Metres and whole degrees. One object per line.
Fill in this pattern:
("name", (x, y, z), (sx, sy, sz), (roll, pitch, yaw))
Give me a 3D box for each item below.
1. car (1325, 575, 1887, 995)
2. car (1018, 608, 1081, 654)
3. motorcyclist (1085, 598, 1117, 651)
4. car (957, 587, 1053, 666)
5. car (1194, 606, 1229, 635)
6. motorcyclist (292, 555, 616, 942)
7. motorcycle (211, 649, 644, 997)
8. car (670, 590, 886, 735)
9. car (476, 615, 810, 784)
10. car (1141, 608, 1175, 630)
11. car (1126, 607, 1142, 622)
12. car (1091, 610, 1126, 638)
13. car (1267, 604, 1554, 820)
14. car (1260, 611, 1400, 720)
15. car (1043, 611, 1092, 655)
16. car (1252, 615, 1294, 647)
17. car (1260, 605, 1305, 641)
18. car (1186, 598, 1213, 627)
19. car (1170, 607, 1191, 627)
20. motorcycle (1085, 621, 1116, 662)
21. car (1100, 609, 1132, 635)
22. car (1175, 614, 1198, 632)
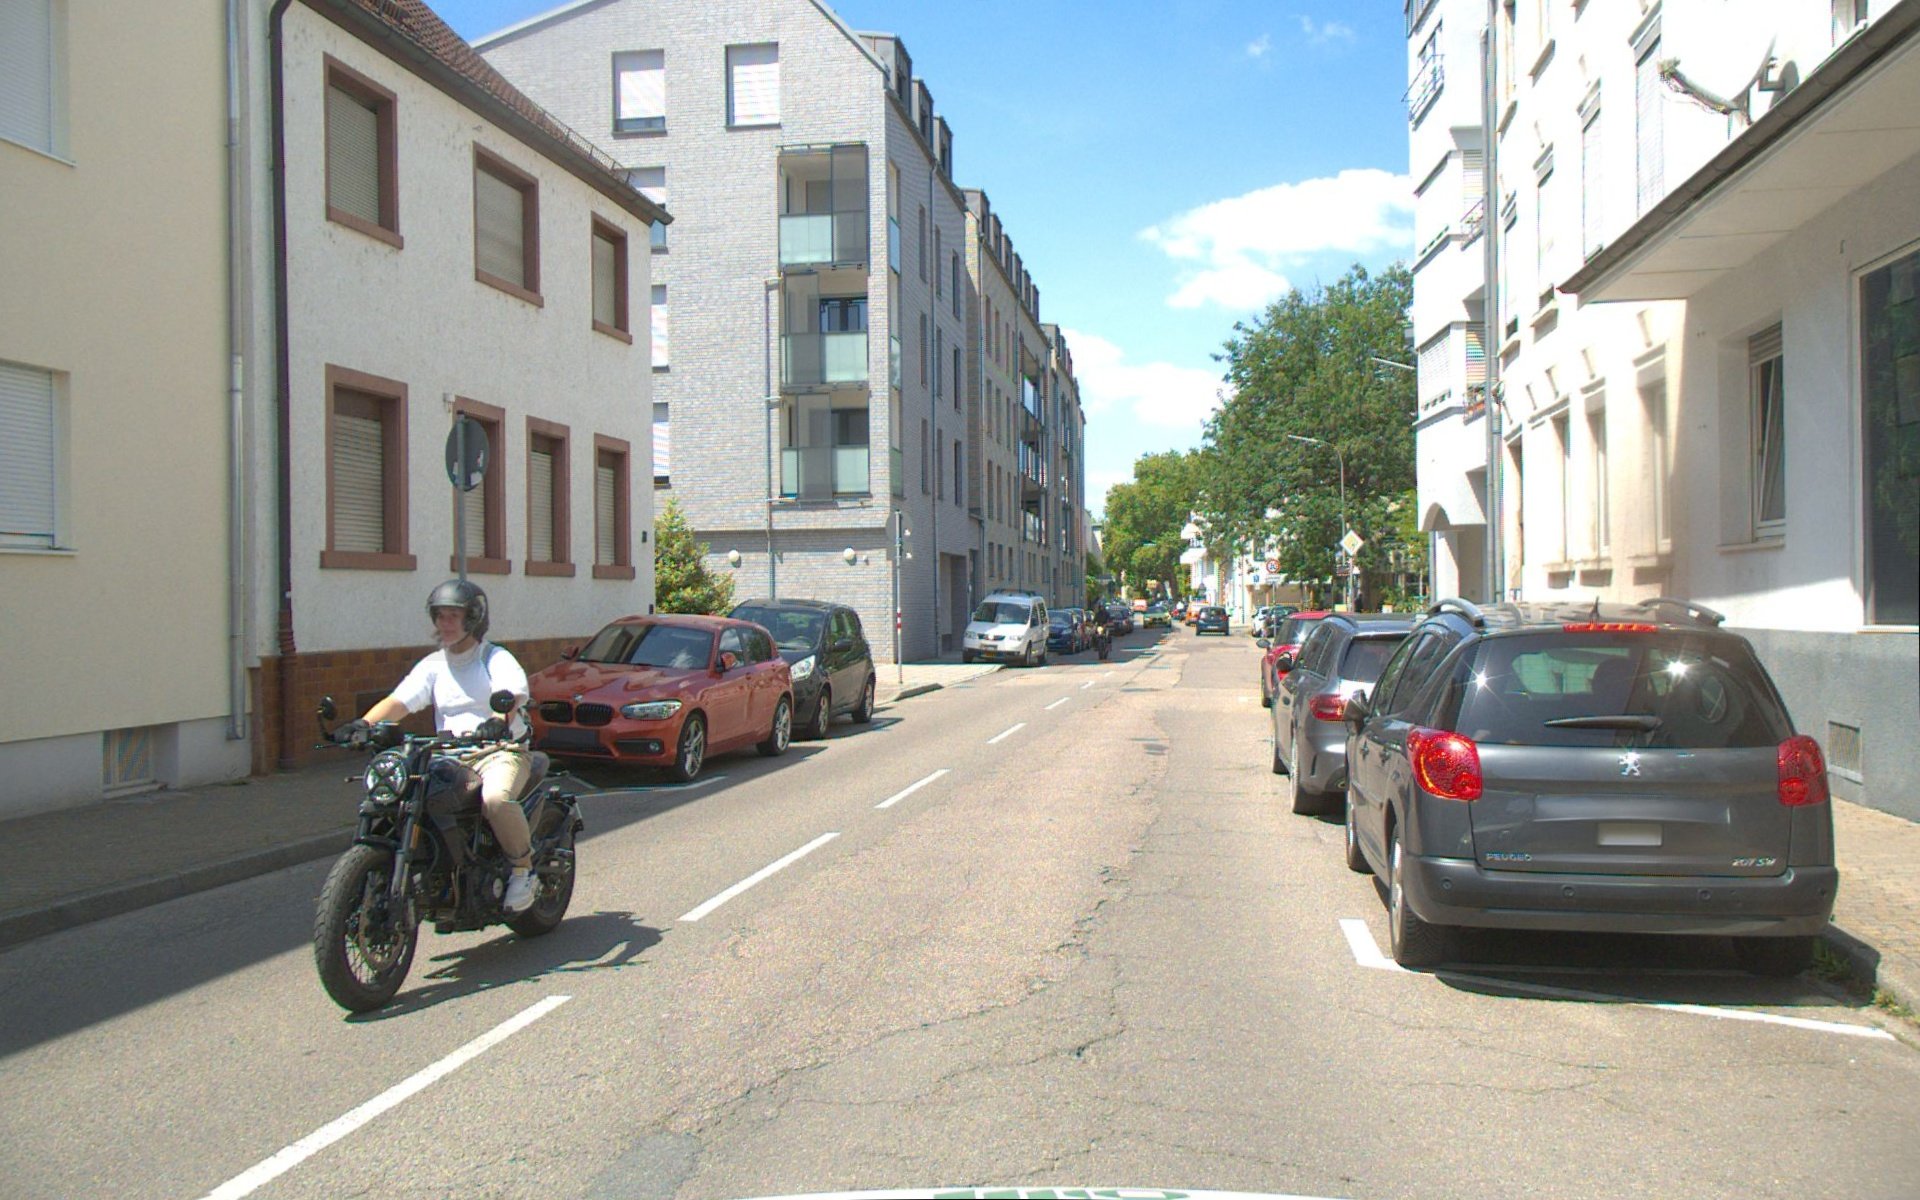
("car", (2.828, 0.699, 8.150), (1.673, 1.534, 4.003), (-1, 0, 8))
("car", (3.068, 1.030, 56.269), (1.686, 1.482, 4.008), (1, 0, 10))
("motorcyclist", (4.192, 0.717, 49.020), (0.805, 1.535, 1.057), (-1, -1, 11))
("car", (1.239, 0.661, 43.845), (1.719, 1.925, 4.340), (2, 0, 12))
("car", (12.919, 1.047, 84.905), (1.679, 1.427, 4.003), (-1, 0, 9))
("motorcyclist", (-2.126, 0.584, 7.117), (0.896, 1.506, 1.204), (0, 0, 9))
("motorcycle", (-2.155, 0.836, 7.111), (0.877, 1.196, 2.210), (0, 0, 9))
("car", (-2.235, 0.737, 21.379), (1.756, 1.675, 3.948), (0, 0, 9))
("car", (-2.948, 0.878, 16.423), (1.794, 1.441, 4.293), (-1, 0, 11))
("car", (13.275, 1.242, 110.822), (1.951, 1.405, 4.396), (1, 0, 11))
("car", (23.807, 1.988, 225.916), (2.111, 2.049, 4.003), (-1, 0, 6))
("car", (8.198, 1.299, 91.166), (1.695, 1.467, 4.003), (-1, -1, 8))
("car", (3.460, 0.773, 13.455), (1.692, 1.445, 4.548), (-1, 0, 8))
("car", (5.183, 0.877, 23.521), (1.584, 1.410, 3.541), (0, 0, 7))
("car", (4.030, 1.194, 61.373), (1.557, 1.581, 3.573), (0, 0, 8))
("car", (14.967, 1.456, 79.190), (1.741, 1.445, 4.003), (-1, -1, 7))
("car", (14.207, 1.008, 73.012), (1.656, 1.445, 4.003), (-3, -1, 7))
("car", (17.053, 0.866, 117.610), (1.799, 2.049, 4.003), (-1, 0, 9))
("car", (18.563, 1.420, 139.333), (1.675, 1.662, 3.706), (-1, 0, 7))
("motorcycle", (4.155, 1.212, 48.896), (0.673, 1.142, 2.029), (-1, 0, 11))
("car", (9.115, 1.287, 96.331), (1.695, 1.467, 4.003), (-1, -1, 8))
("car", (21.201, 2.176, 155.070), (1.951, 1.646, 4.002), (0, -1, 5))
